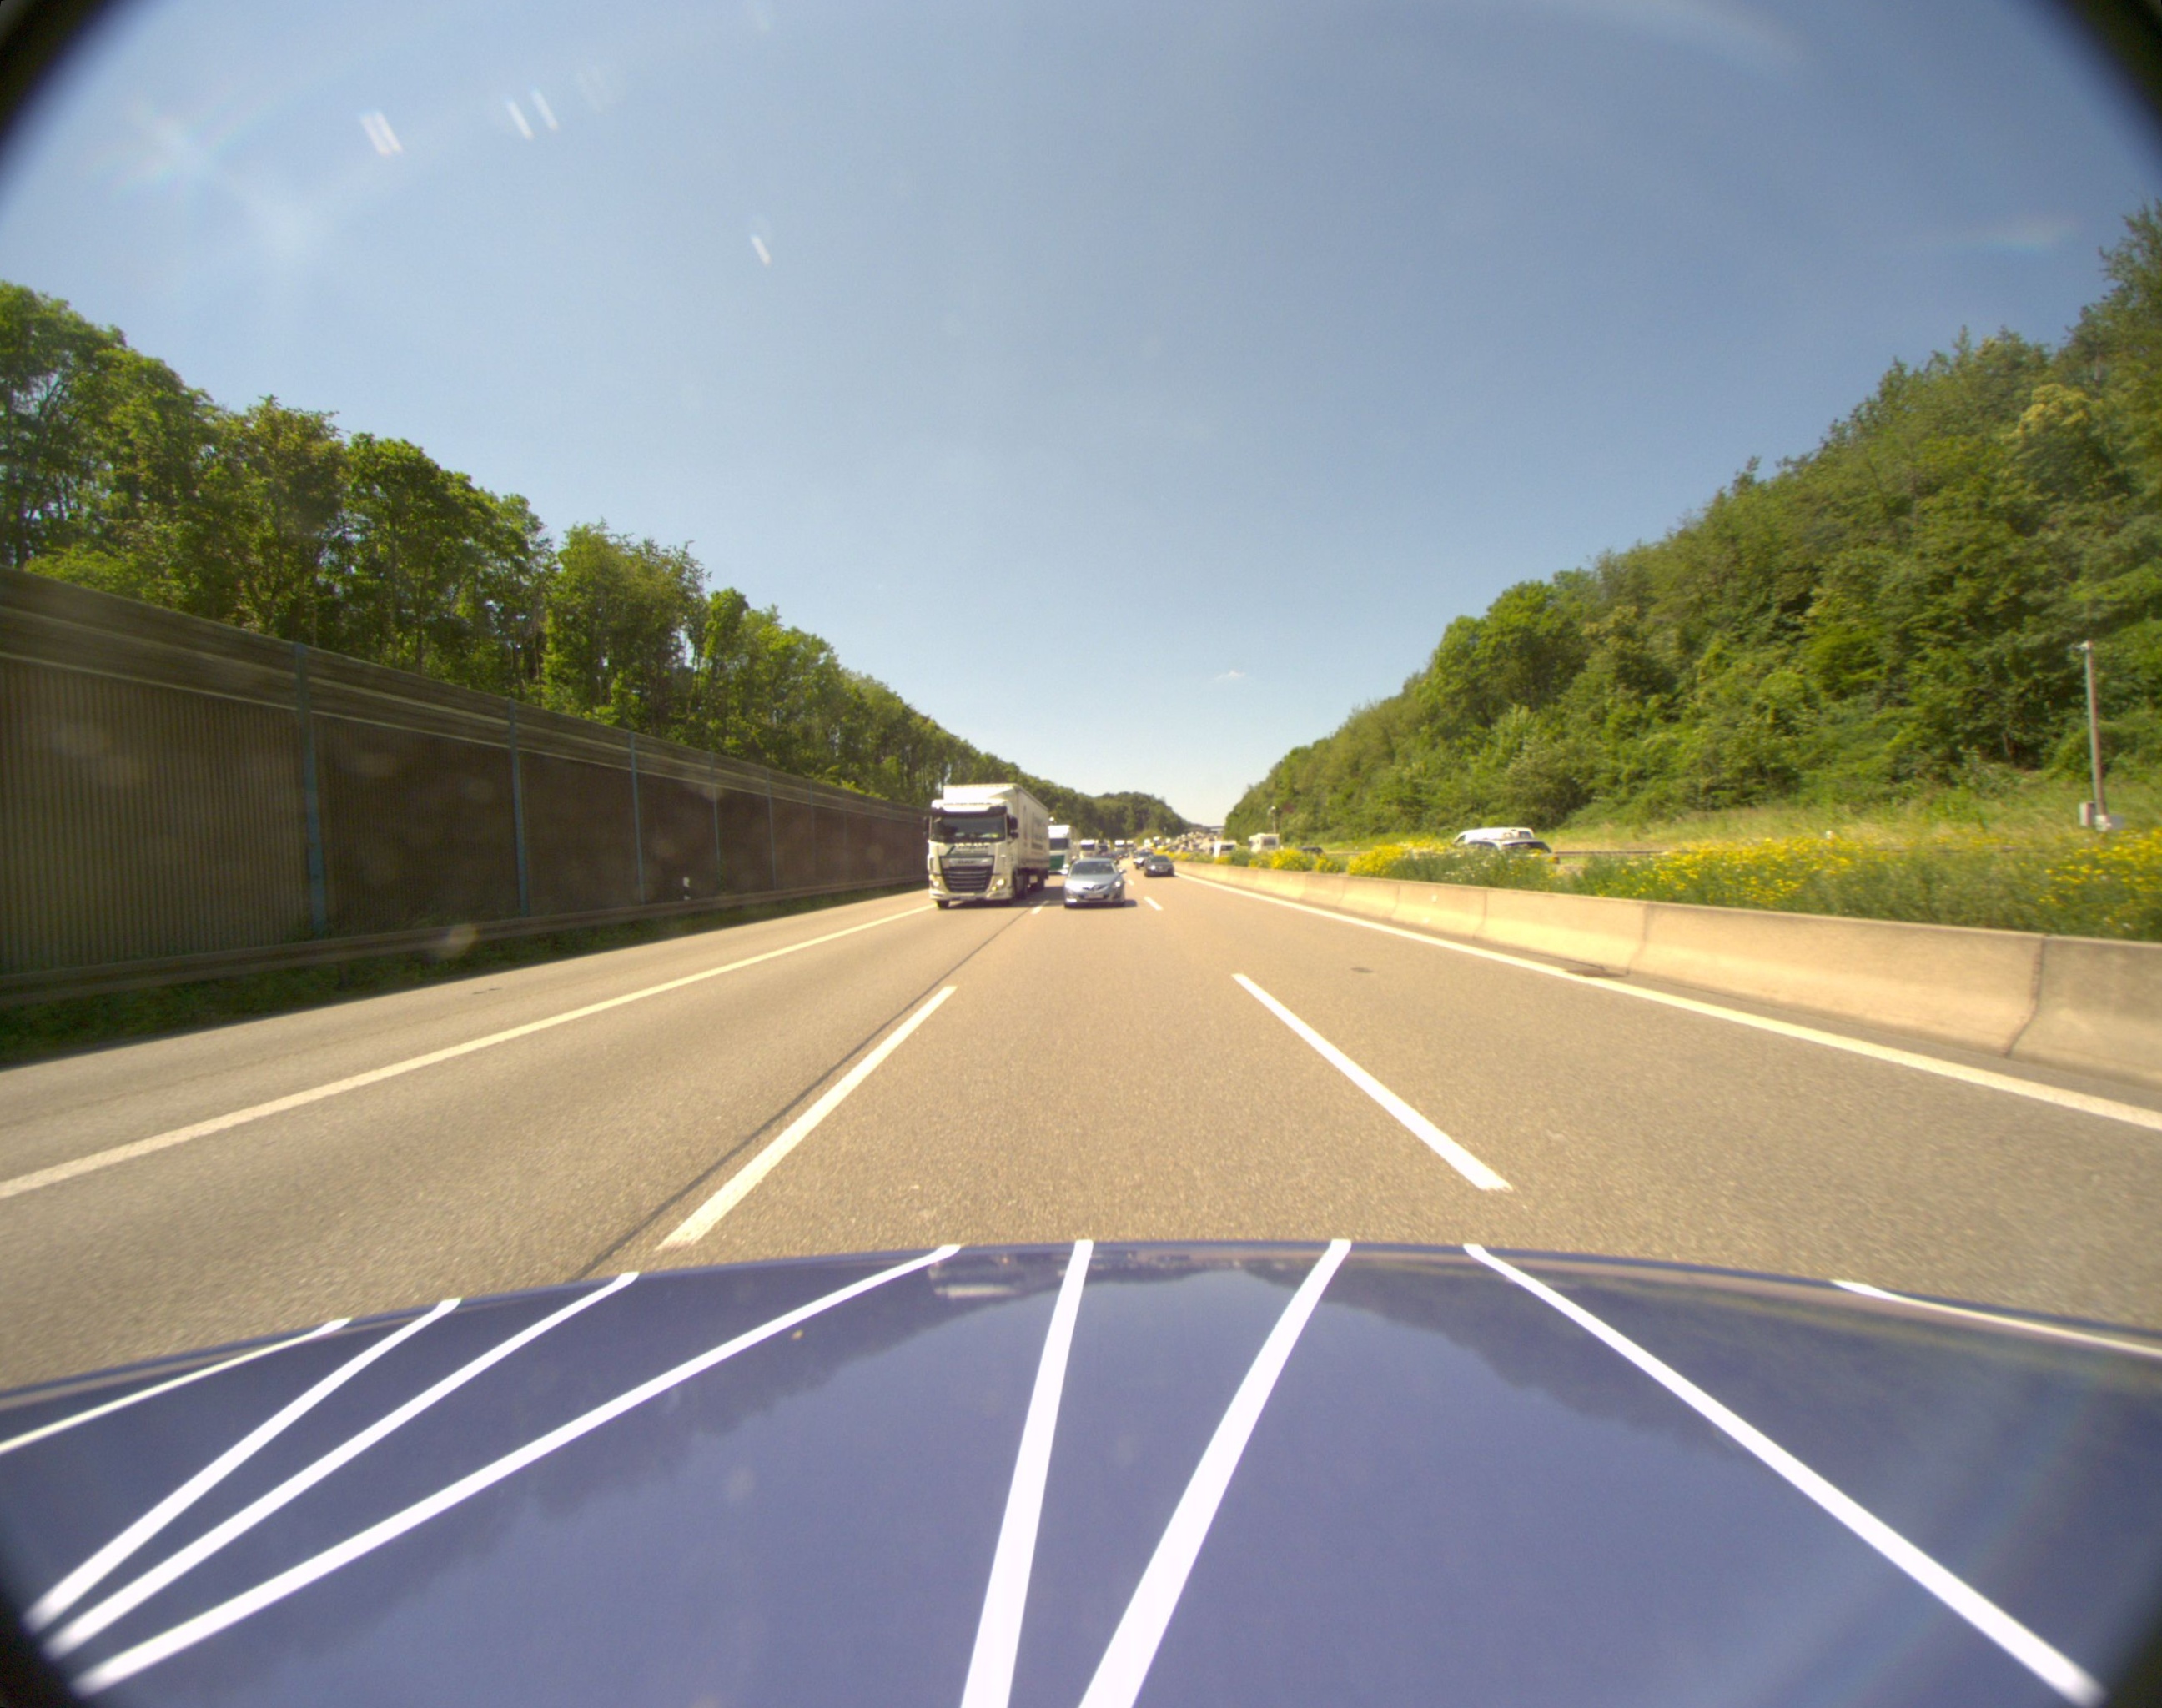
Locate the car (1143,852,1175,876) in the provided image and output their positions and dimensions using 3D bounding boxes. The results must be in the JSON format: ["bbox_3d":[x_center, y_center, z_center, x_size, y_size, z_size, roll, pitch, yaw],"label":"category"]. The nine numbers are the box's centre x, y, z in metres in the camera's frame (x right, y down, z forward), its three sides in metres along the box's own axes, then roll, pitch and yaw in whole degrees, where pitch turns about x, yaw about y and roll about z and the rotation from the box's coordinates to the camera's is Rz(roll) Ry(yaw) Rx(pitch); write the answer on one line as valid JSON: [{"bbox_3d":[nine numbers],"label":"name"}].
[{"bbox_3d":[5.030,0.625,49.459,1.720,1.470,4.000,-2,0,1],"label":"car"}]

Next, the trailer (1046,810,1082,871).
[{"bbox_3d":[-1.452,-1.301,71.294,2.574,5.012,15.269,-2,1,1],"label":"trailer"}]

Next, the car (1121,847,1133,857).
[{"bbox_3d":[8.706,-0.445,143.738,1.997,1.728,4.001,-2,1,6],"label":"car"}]

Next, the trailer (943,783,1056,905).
[{"bbox_3d":[-3.079,-0.347,33.237,2.792,4.180,13.245,-2,0,3],"label":"trailer"}]

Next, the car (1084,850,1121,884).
[{"bbox_3d":[1.226,0.665,41.918,1.887,1.696,4.085,-2,0,3],"label":"car"}]

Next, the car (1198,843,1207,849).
[{"bbox_3d":[31.662,-1.990,198.245,1.792,1.448,4.000,-2,1,3],"label":"car"}]

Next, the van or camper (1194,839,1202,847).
[{"bbox_3d":[39.902,-3.861,259.927,2.191,2.546,6.932,-2,1,4],"label":"van or camper"}]

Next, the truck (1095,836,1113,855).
[{"bbox_3d":[4.814,-1.750,156.872,3.557,3.695,7.550,-2,1,3],"label":"truck"}]

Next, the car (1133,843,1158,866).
[{"bbox_3d":[6.034,0.034,71.379,1.998,2.002,3.999,-2,1,1],"label":"car"}]

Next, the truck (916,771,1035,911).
[{"bbox_3d":[-3.398,-0.389,26.053,2.792,4.180,5.870,-2,0,3],"label":"truck"}]

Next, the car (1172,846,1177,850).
[{"bbox_3d":[30.234,-1.987,245.830,1.481,1.433,3.565,-2,0,3],"label":"car"}]

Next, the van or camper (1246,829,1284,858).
[{"bbox_3d":[22.031,-1.293,91.587,2.546,3.299,9.001,-2,1,1],"label":"van or camper"}]

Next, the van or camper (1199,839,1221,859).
[{"bbox_3d":[19.240,-0.715,113.482,2.263,2.882,6.557,-2,0,2],"label":"van or camper"}]

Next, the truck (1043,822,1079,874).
[{"bbox_3d":[-1.613,-0.554,63.113,2.542,4.006,6.624,-2,2,1],"label":"truck"}]

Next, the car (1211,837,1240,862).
[{"bbox_3d":[16.466,-0.461,86.936,2.206,2.725,5.747,-2,0,1],"label":"car"}]

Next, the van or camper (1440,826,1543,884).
[{"bbox_3d":[15.506,0.011,28.956,1.696,2.001,4.213,-2,1,1],"label":"van or camper"}]

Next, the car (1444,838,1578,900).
[{"bbox_3d":[11.932,0.349,21.388,1.883,1.555,3.682,-2,1,4],"label":"car"}]

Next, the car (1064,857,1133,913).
[{"bbox_3d":[0.529,0.878,23.432,1.887,1.459,4.247,-2,0,1],"label":"car"}]

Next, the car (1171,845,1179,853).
[{"bbox_3d":[27.470,-1.459,222.508,1.998,2.002,4.000,-2,2,5],"label":"car"}]

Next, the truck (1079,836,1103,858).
[{"bbox_3d":[1.697,-1.127,122.975,3.261,3.337,6.864,-2,2,6],"label":"truck"}]

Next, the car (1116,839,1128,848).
[{"bbox_3d":[12.137,-3.168,225.009,2.696,2.468,6.587,-1,1,9],"label":"car"}]

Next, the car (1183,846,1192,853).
[{"bbox_3d":[26.346,-1.158,188.117,1.998,1.577,4.273,-2,0,3],"label":"car"}]

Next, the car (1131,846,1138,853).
[{"bbox_3d":[15.478,-1.334,220.032,1.997,1.728,4.001,-2,1,7],"label":"car"}]

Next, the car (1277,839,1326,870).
[{"bbox_3d":[12.769,0.010,44.258,1.711,1.655,4.080,-2,1,1],"label":"car"}]

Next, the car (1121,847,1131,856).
[{"bbox_3d":[9.819,-0.547,165.260,1.998,1.728,4.001,-2,1,6],"label":"car"}]

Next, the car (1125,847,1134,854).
[{"bbox_3d":[11.979,-0.894,188.143,1.997,1.728,4.001,-2,1,7],"label":"car"}]

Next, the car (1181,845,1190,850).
[{"bbox_3d":[30.349,-1.913,221.012,1.998,1.581,4.162,-2,1,2],"label":"car"}]
